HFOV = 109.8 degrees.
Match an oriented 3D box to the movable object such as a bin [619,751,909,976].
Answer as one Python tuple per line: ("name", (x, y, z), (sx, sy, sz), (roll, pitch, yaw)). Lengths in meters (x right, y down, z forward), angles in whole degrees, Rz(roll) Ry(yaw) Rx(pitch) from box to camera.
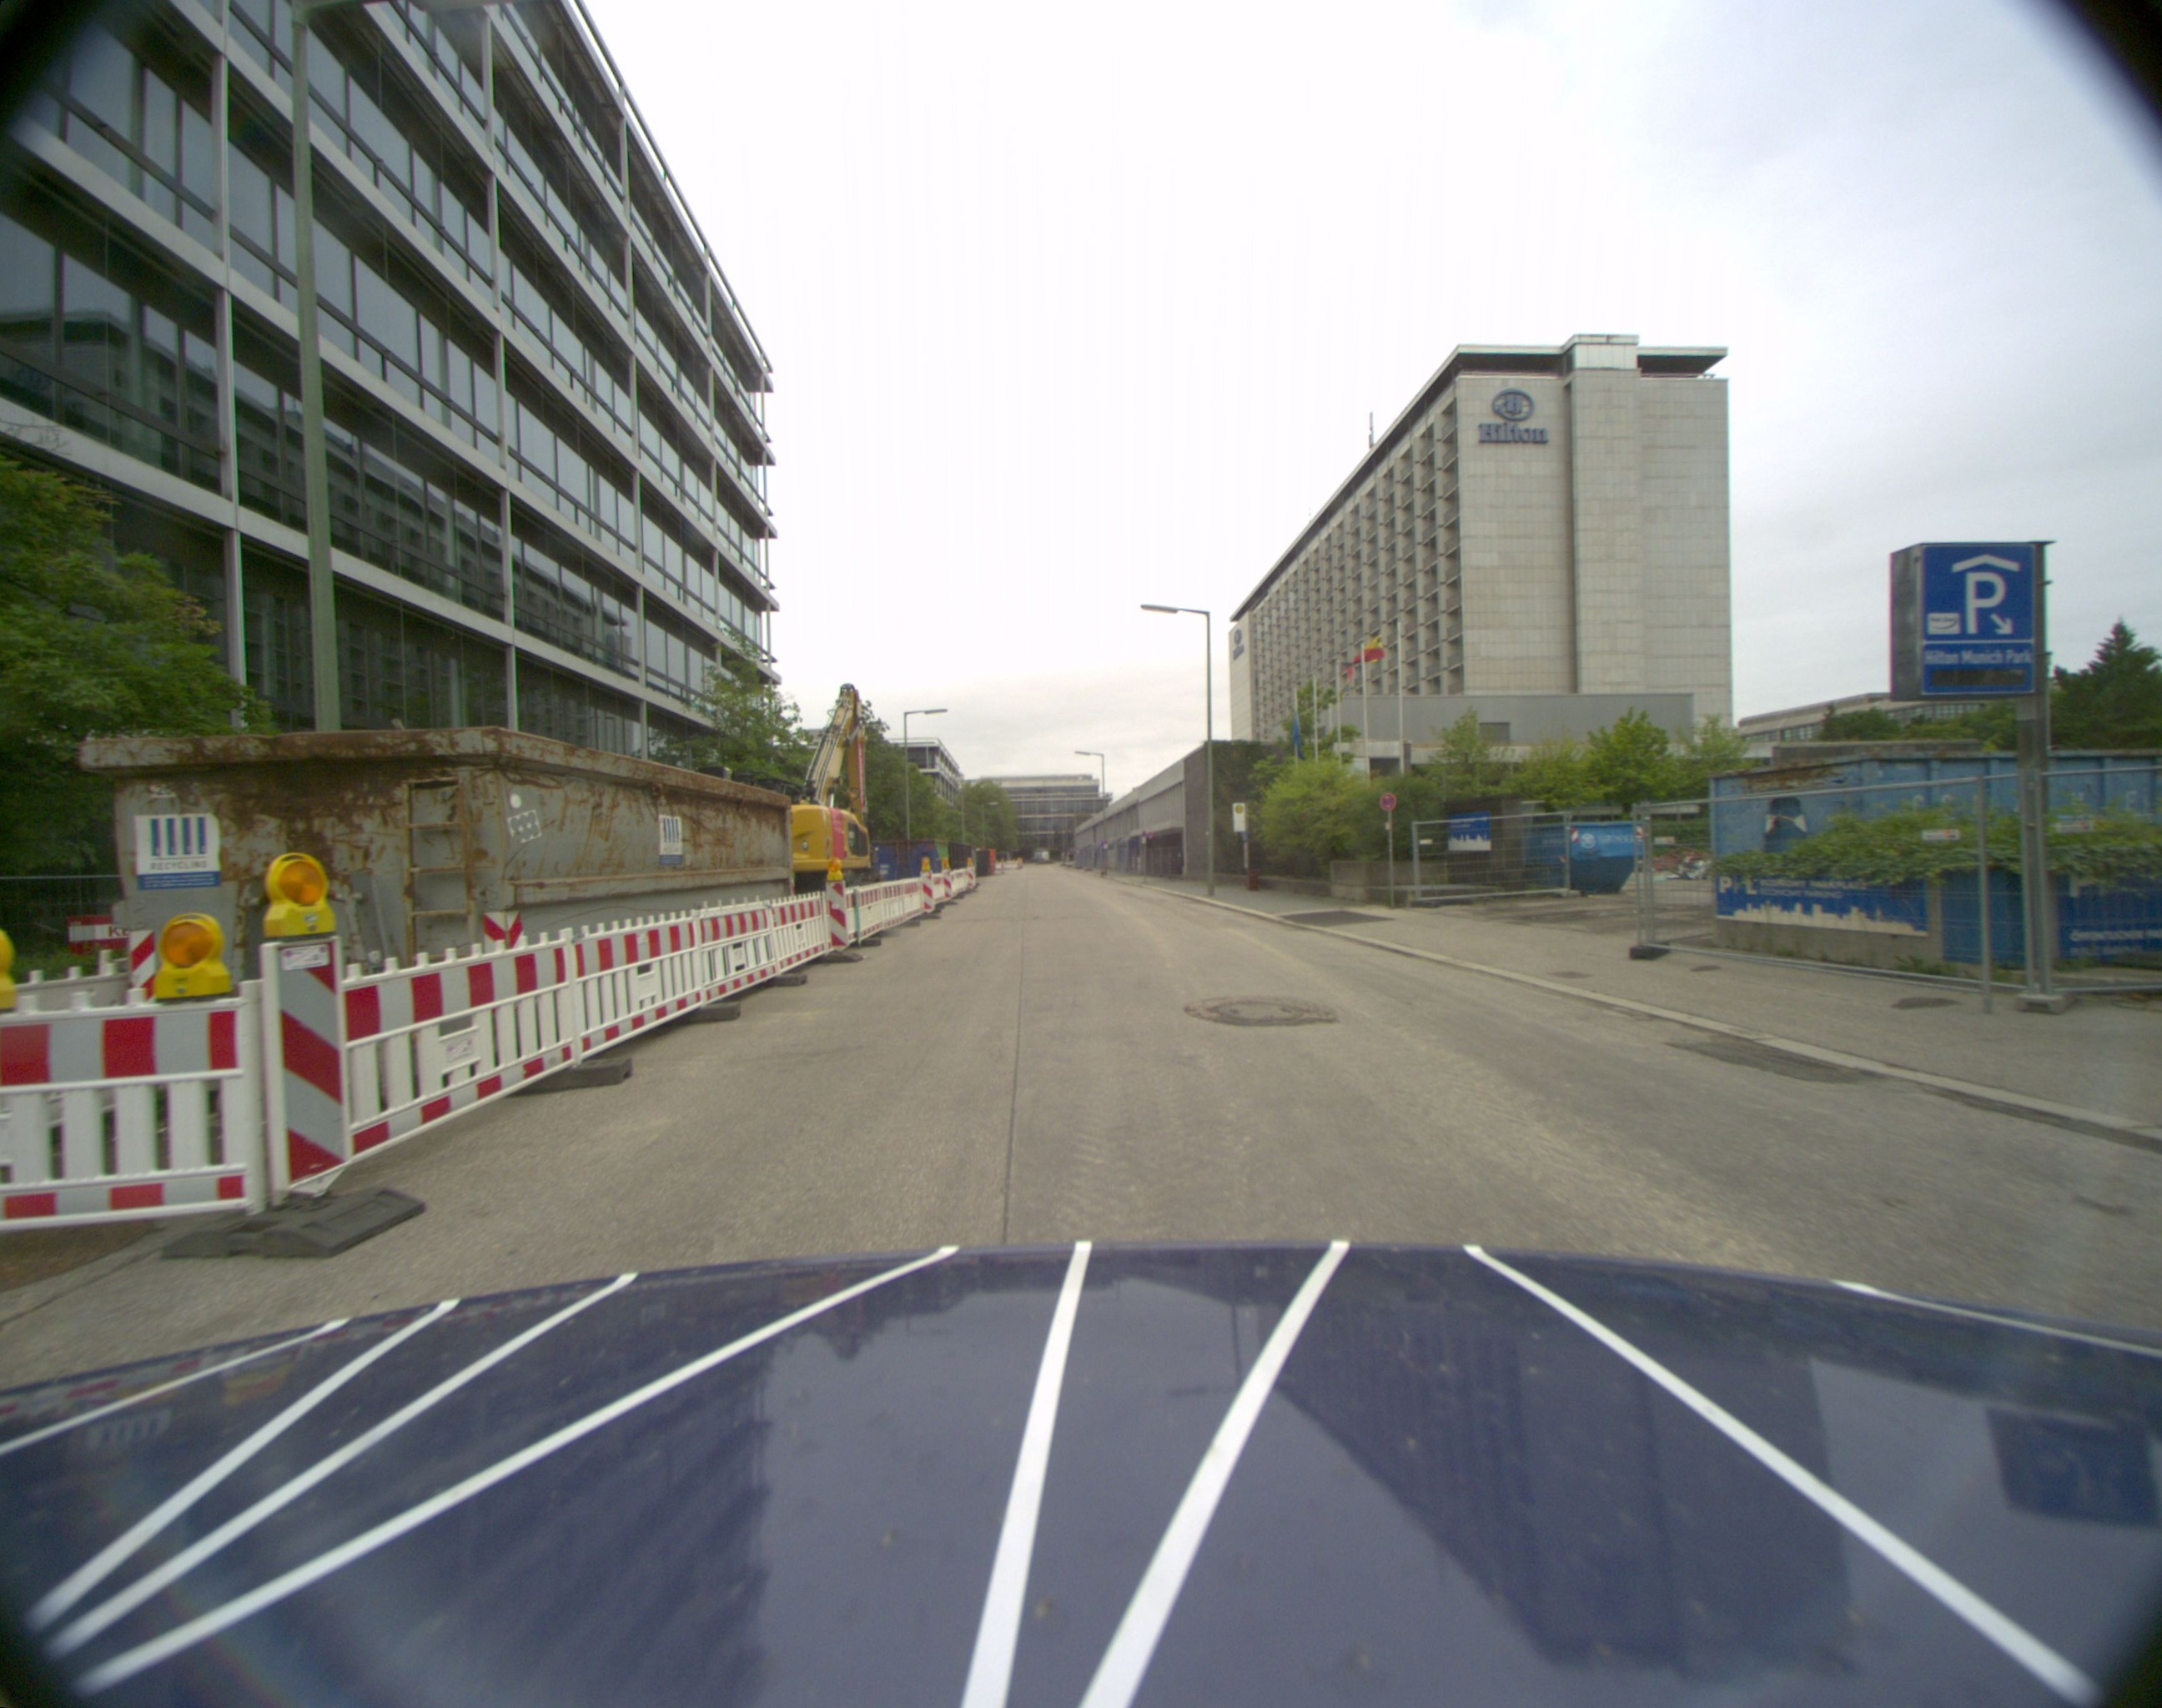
("movable object such as a bin", (-6.344, 0.117, 17.348), (3.250, 3.695, 9.003), (-2, 1, -4))
